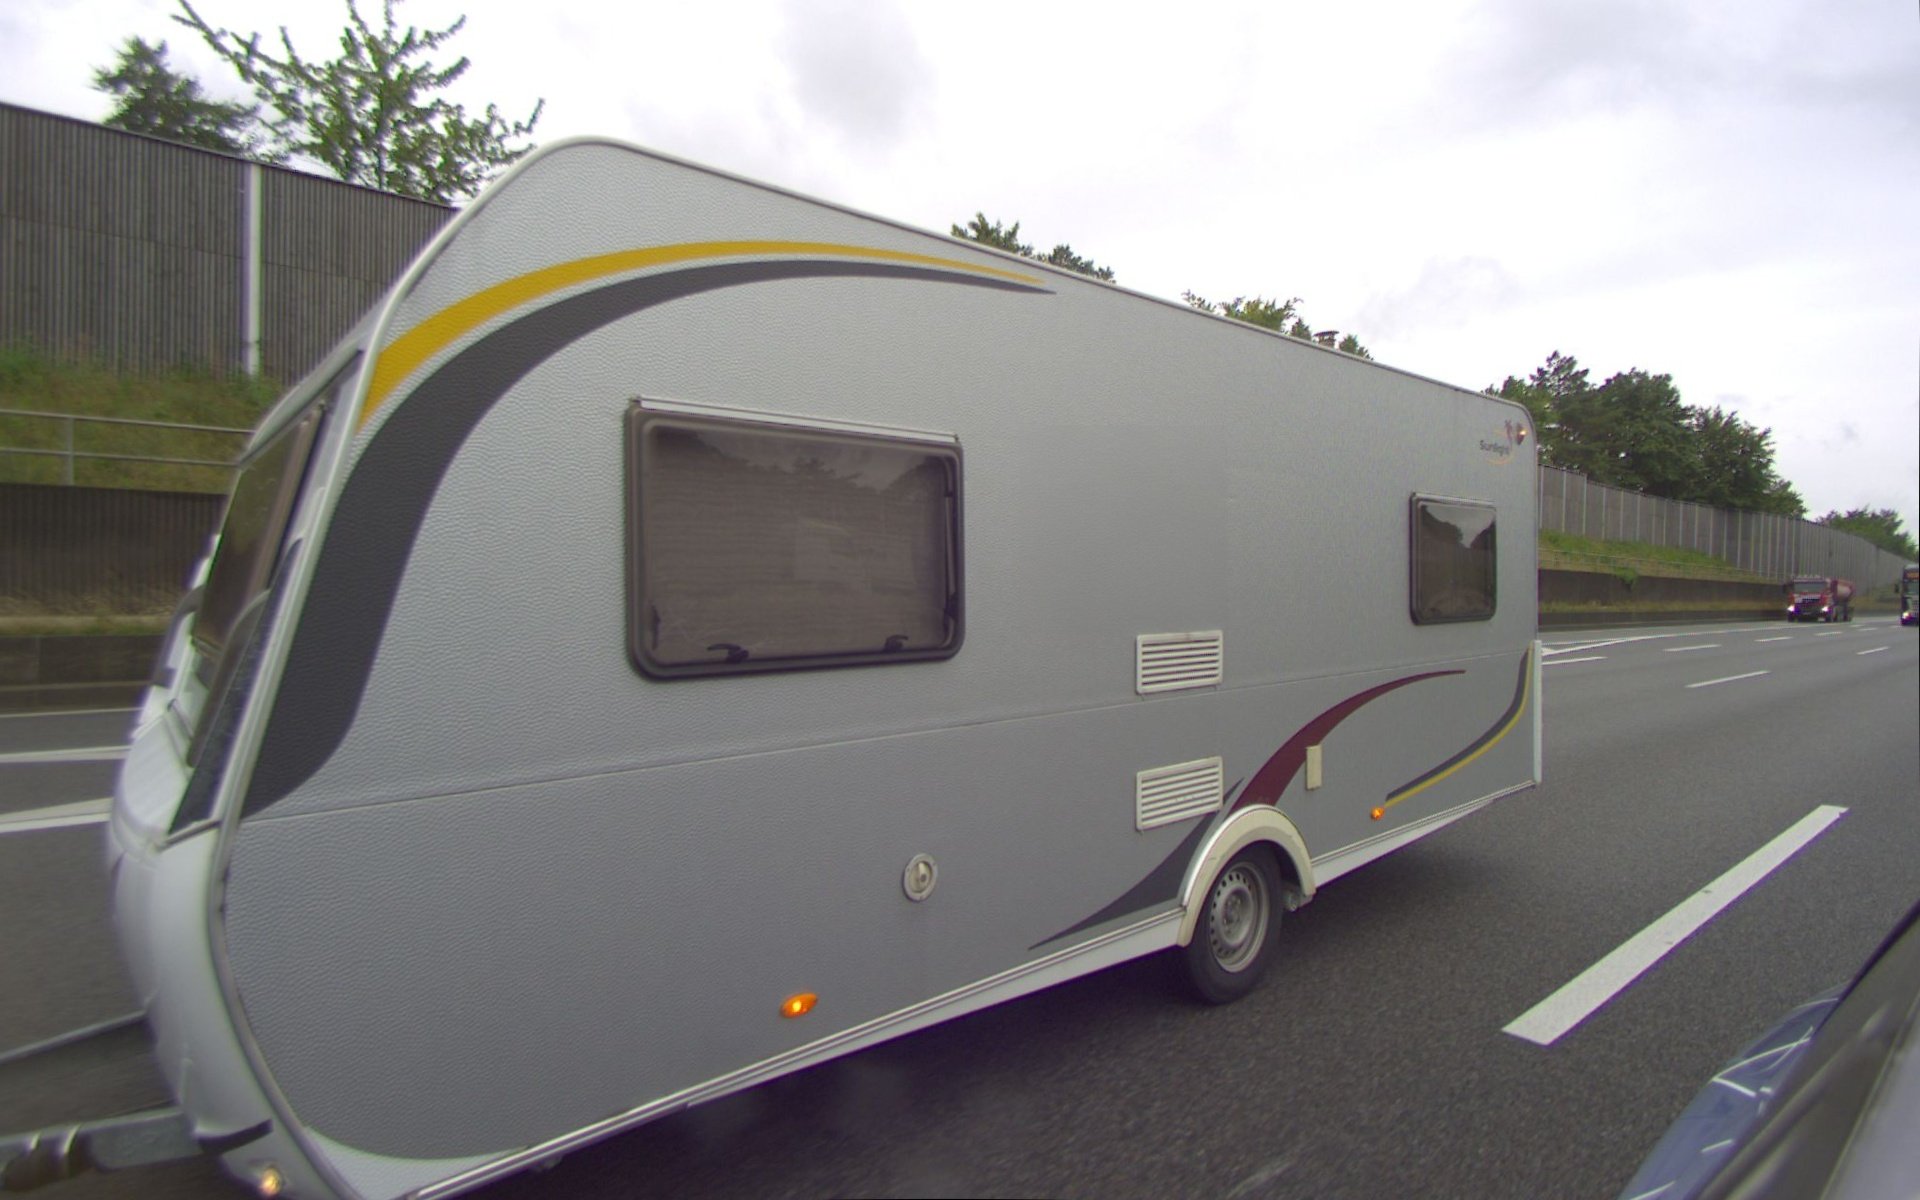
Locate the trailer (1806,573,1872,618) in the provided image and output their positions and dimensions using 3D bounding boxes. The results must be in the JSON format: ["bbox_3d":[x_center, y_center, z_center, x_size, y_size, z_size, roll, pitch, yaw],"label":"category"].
[{"bbox_3d":[67.452,-0.350,77.577,9.235,3.288,2.451,0,1,-40],"label":"trailer"}]

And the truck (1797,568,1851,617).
[{"bbox_3d":[63.098,-0.573,73.879,3.930,3.508,2.419,0,1,-41],"label":"truck"}]

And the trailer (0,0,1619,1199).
[{"bbox_3d":[0.257,0.061,4.632,7.380,2.676,2.725,0,0,-41],"label":"trailer"}]

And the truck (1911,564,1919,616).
[{"bbox_3d":[62.253,-0.595,63.981,4.551,3.278,2.615,0,1,-41],"label":"truck"}]
